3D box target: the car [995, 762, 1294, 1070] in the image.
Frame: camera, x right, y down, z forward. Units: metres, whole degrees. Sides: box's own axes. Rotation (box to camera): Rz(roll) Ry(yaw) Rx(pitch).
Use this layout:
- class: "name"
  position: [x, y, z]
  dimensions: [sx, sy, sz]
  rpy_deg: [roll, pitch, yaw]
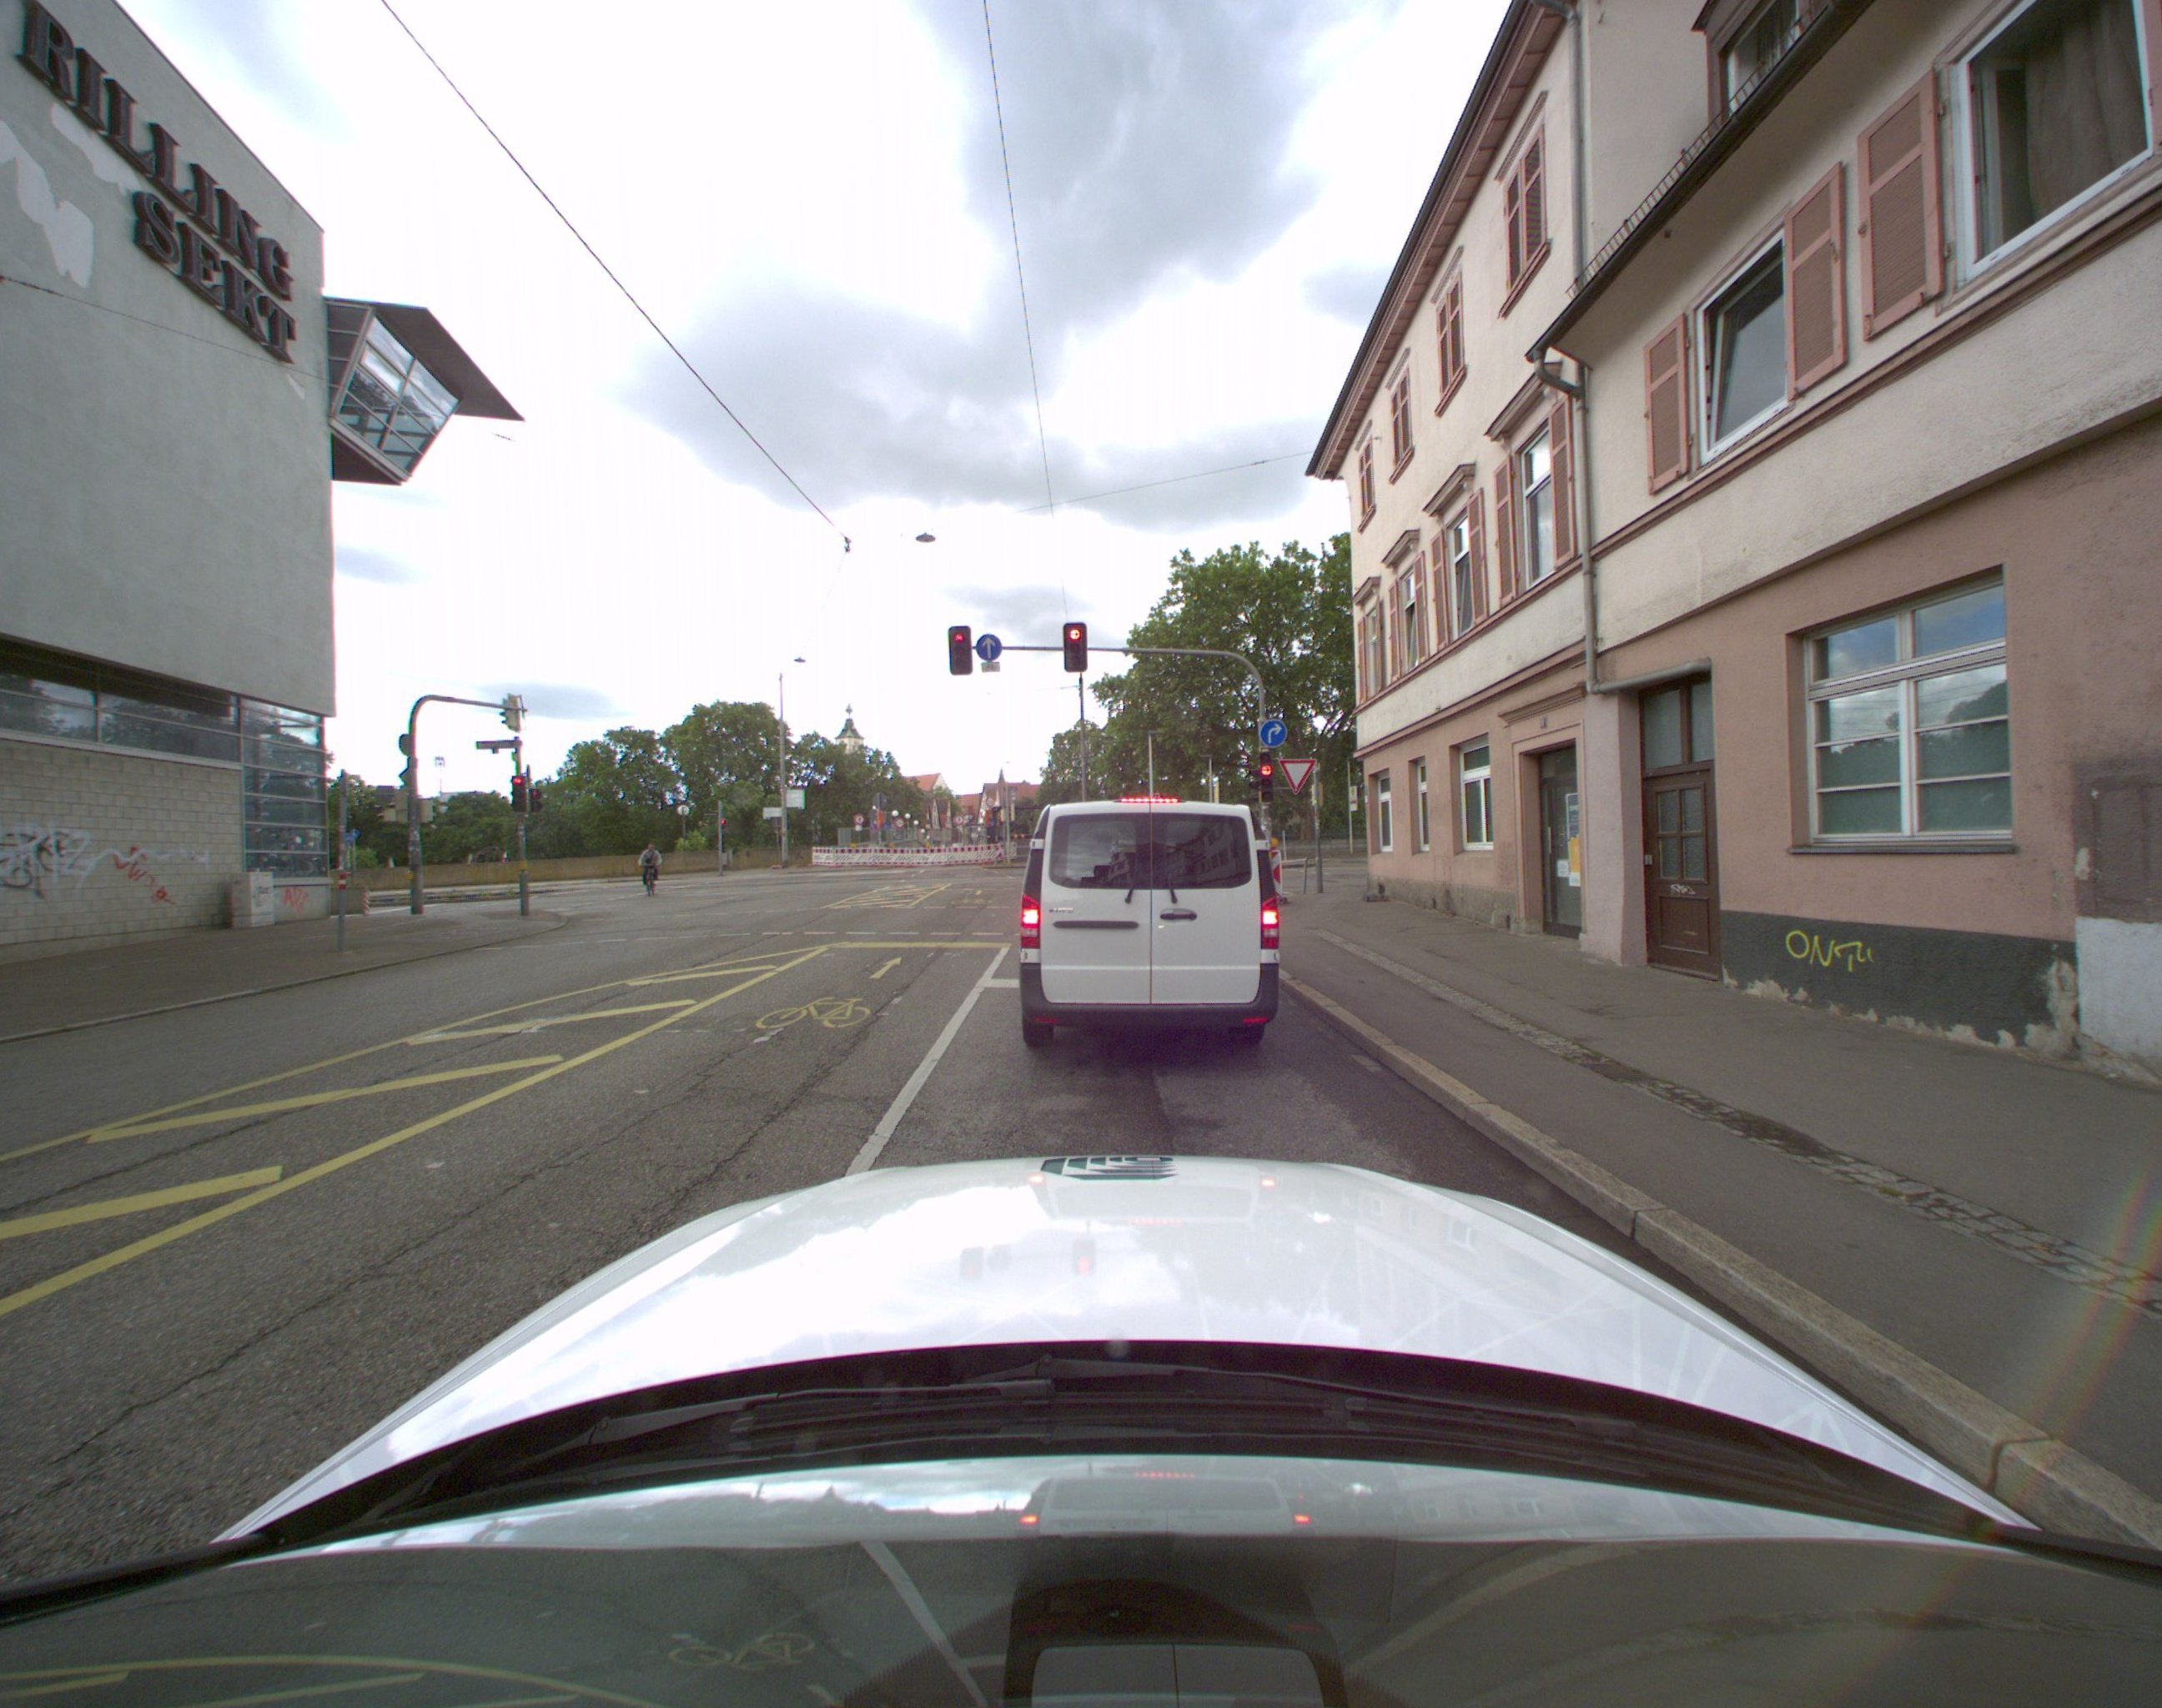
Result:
- class: "car"
  position: [0.490, 0.354, 7.680]
  dimensions: [1.943, 2.013, 4.700]
  rpy_deg: [0, 1, 2]

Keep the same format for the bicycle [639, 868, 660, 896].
- class: "bicycle"
  position: [-14.666, 0.927, 27.713]
  dimensions: [0.544, 0.892, 1.864]
  rpy_deg: [-2, 0, -26]

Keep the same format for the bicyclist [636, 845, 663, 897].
- class: "bicyclist"
  position: [-14.595, 0.574, 27.533]
  dimensions: [0.727, 1.701, 0.804]
  rpy_deg: [-2, 0, -26]
